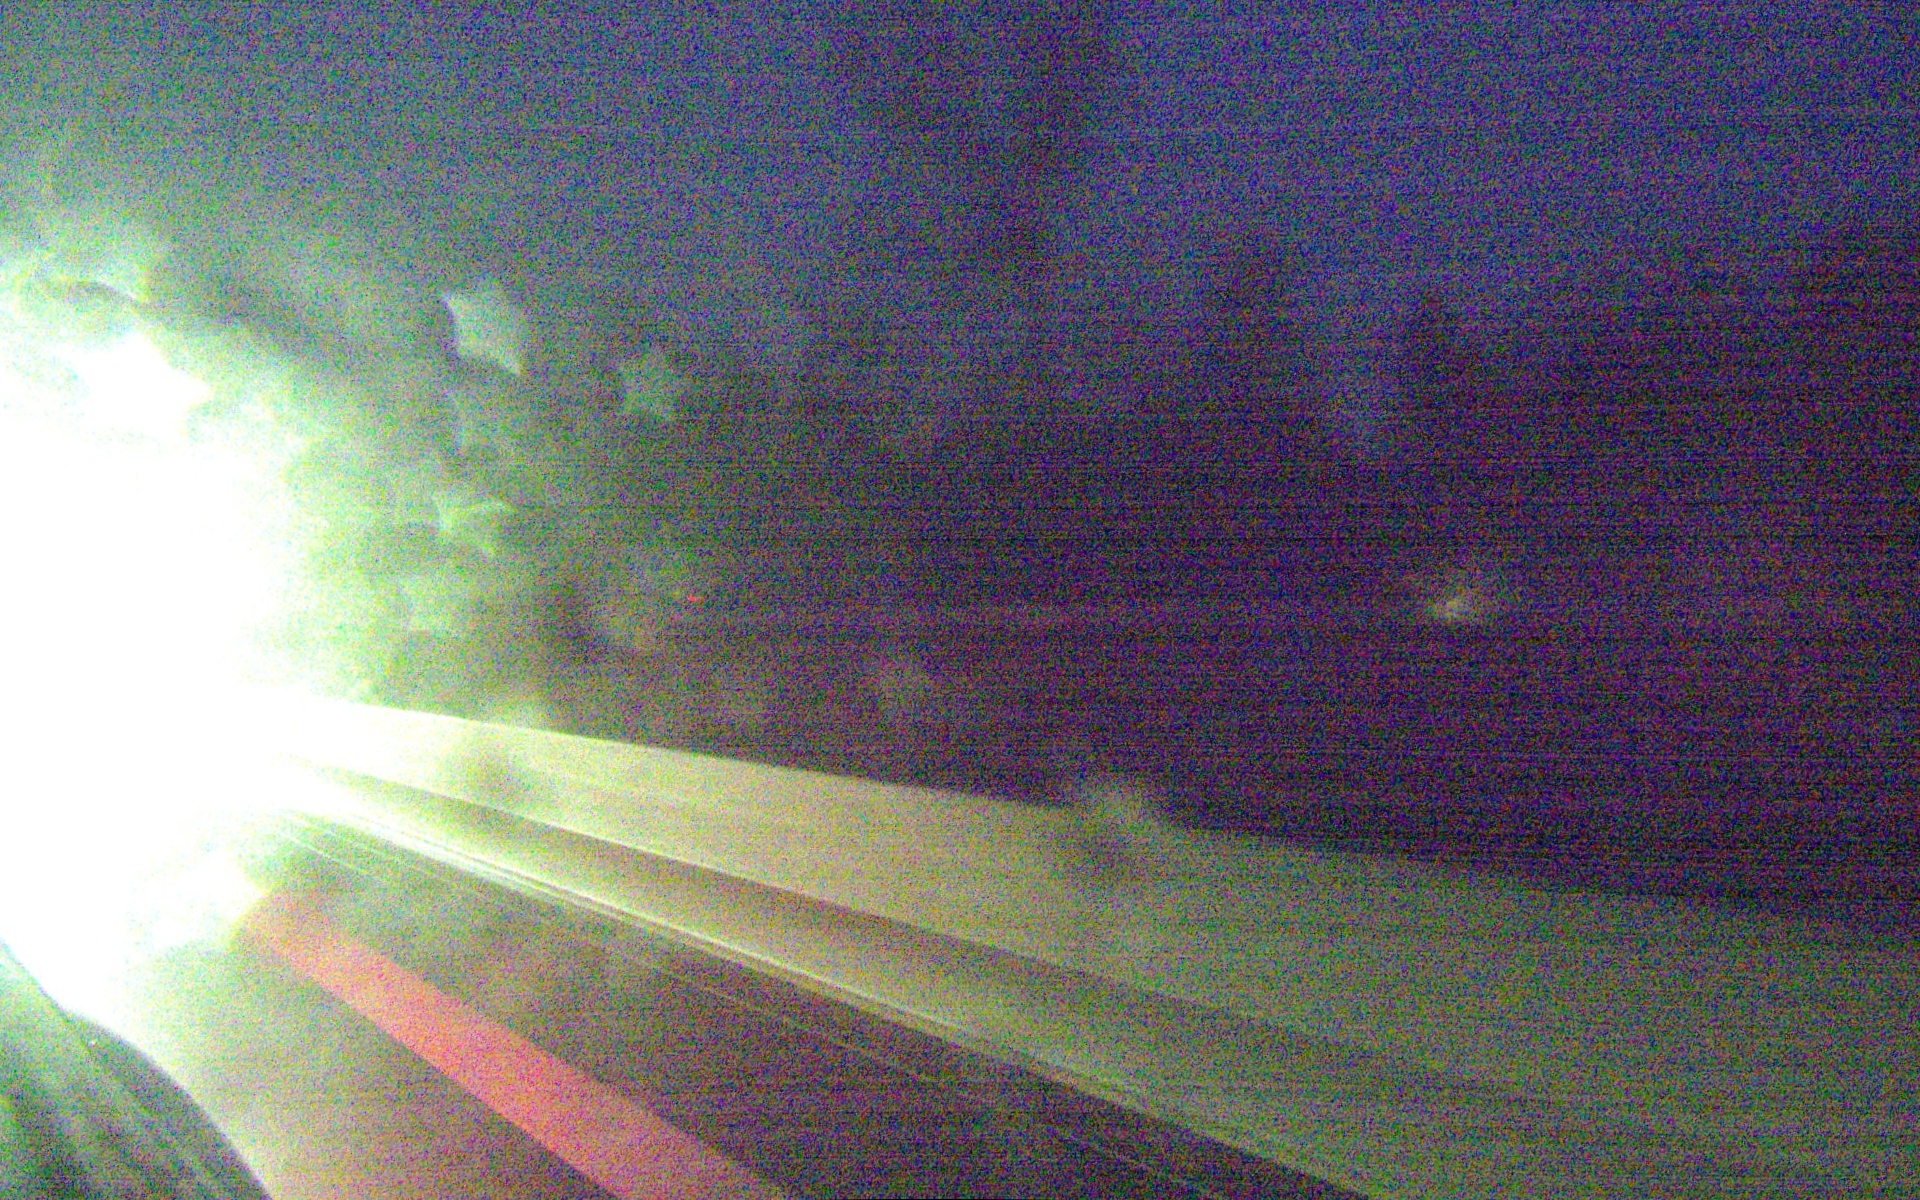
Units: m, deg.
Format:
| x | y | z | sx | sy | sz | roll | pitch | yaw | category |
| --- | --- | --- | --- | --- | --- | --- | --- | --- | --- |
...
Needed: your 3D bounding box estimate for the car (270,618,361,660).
| x | y | z | sx | sy | sz | roll | pitch | yaw | category |
| --- | --- | --- | --- | --- | --- | --- | --- | --- | --- |
| -26.021 | 1.551 | 40.843 | 3.999 | 1.538 | 2.102 | -2 | 0 | 42 | car |
